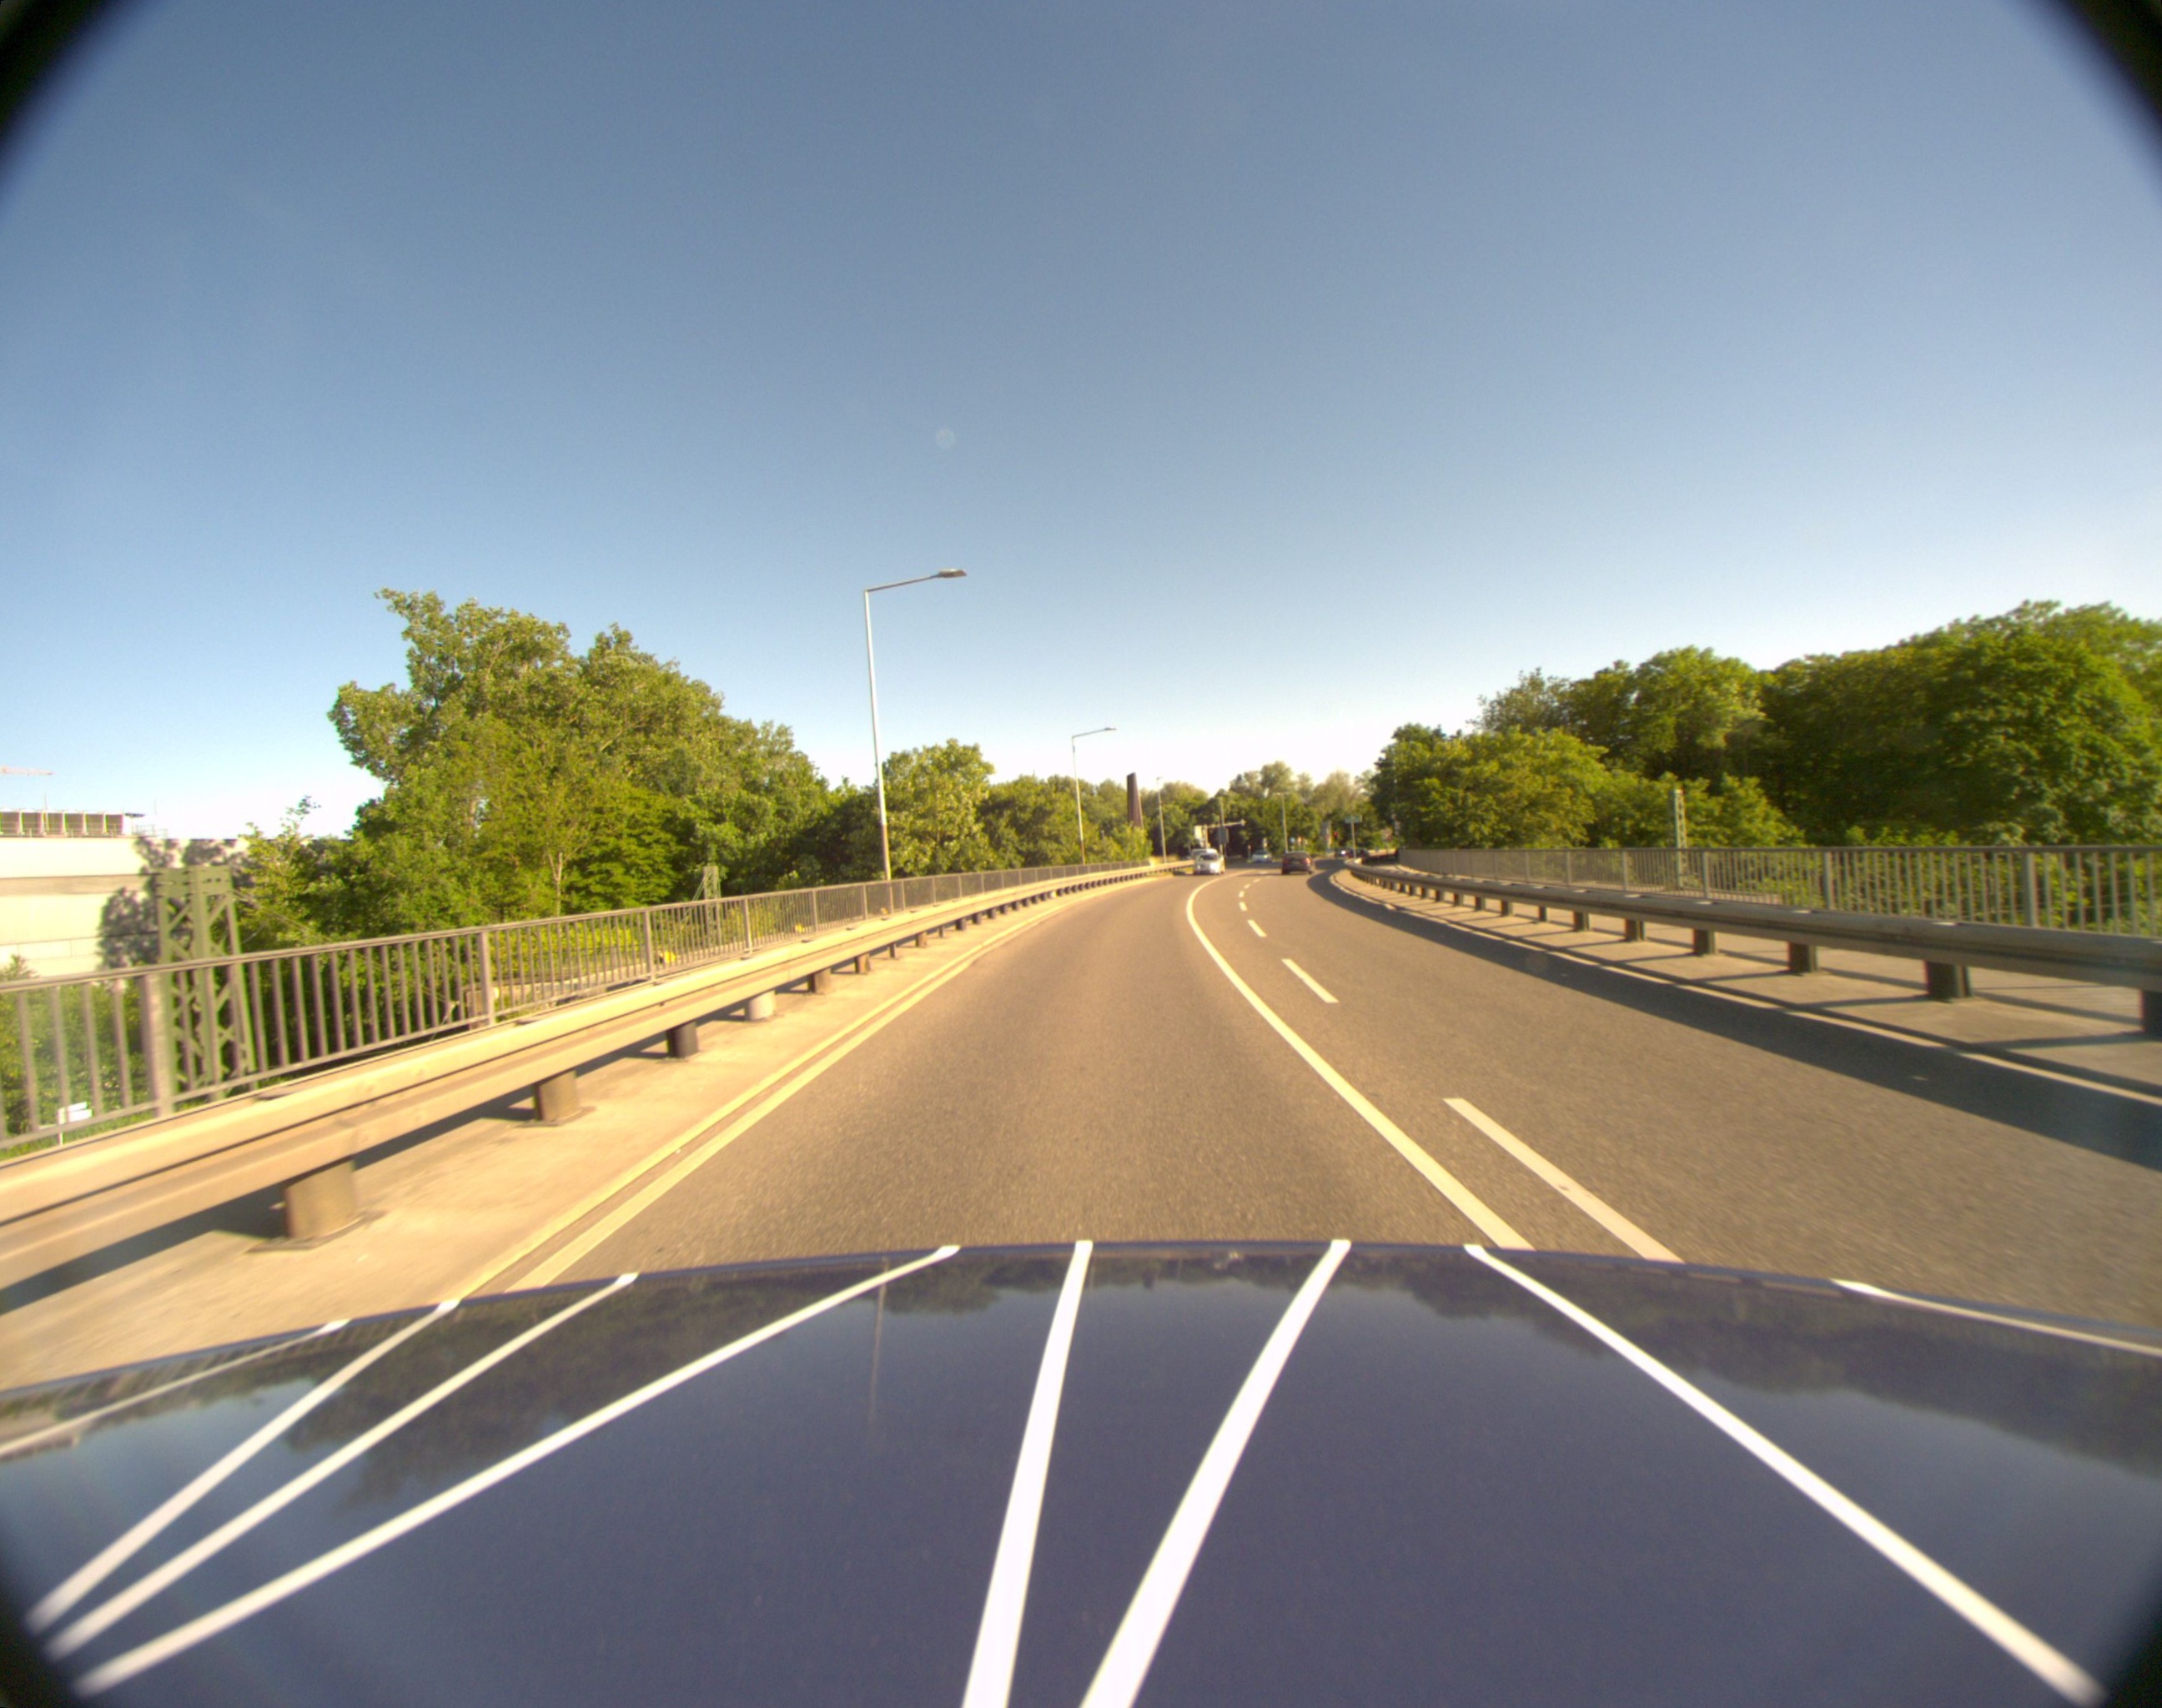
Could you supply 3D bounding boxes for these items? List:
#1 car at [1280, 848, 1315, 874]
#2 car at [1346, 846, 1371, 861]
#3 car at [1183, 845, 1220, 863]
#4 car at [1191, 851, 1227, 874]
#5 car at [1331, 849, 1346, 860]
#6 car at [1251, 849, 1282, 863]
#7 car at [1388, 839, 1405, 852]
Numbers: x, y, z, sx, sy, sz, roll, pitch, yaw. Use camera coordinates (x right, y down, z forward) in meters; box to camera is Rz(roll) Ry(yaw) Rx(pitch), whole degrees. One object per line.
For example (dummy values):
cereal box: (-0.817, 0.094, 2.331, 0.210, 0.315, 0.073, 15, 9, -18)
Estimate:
car: (13.264, 0.386, 46.457, 1.876, 1.431, 4.326, -2, 0, 18)
car: (27.924, -0.089, 76.344, 1.783, 1.429, 3.882, -2, 0, 28)
car: (18.913, 0.058, 119.168, 2.119, 2.484, 5.693, -2, -1, -38)
car: (8.500, 0.534, 50.293, 1.762, 1.428, 4.335, -2, 0, 16)
car: (40.221, 0.085, 118.585, 1.919, 1.608, 3.748, -2, 0, 21)
car: (21.981, 0.215, 89.923, 1.989, 1.465, 4.138, -2, 0, 40)
car: (39.077, -1.064, 94.197, 1.725, 1.477, 4.414, -2, 0, 25)
